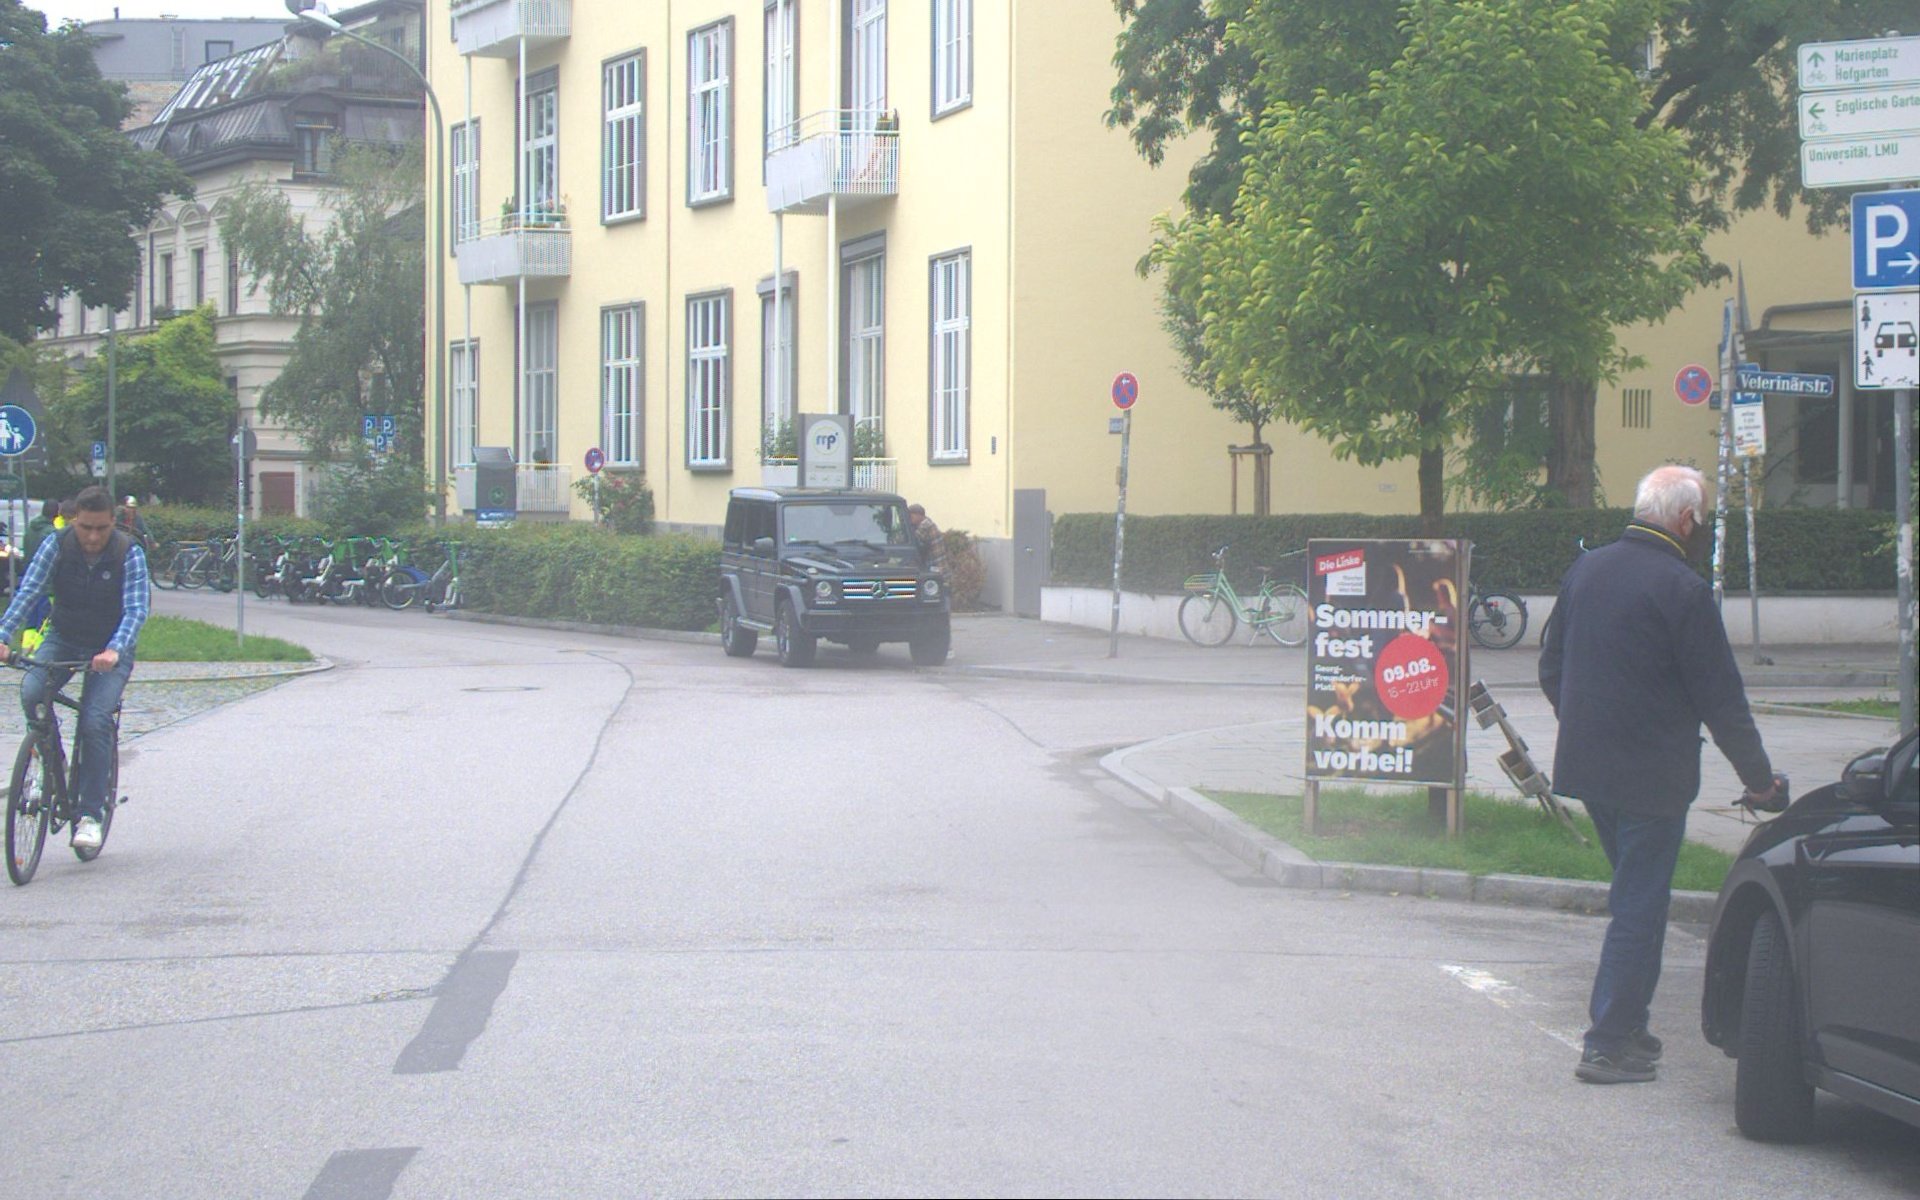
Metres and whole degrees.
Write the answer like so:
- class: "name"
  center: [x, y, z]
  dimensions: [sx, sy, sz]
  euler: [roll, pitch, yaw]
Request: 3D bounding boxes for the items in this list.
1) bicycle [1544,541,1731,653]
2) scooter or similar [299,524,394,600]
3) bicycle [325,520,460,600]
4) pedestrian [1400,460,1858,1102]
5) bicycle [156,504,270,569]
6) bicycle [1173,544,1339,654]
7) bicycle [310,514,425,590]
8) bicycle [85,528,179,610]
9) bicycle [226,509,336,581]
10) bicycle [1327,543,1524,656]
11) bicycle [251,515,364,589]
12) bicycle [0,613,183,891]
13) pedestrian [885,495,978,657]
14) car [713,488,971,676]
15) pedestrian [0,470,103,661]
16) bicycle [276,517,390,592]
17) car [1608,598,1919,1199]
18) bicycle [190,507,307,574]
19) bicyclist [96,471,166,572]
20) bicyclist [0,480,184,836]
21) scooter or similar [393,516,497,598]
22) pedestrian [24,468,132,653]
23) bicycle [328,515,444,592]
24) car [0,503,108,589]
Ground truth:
- class: "bicycle"
  center: [7.456, -0.041, 37.889]
  dimensions: [1.922, 1.197, 0.595]
  euler: [1, 2, 1]
- class: "scooter or similar"
  center: [-10.798, -0.682, 60.541]
  dimensions: [0.733, 1.301, 1.728]
  euler: [1, 2, 29]
- class: "bicycle"
  center: [-9.449, -0.683, 57.257]
  dimensions: [2.150, 1.301, 0.734]
  euler: [-1, 2, -41]
- class: "pedestrian"
  center: [1.992, 0.481, 10.262]
  dimensions: [0.954, 1.794, 0.935]
  euler: [-2, 3, -40]
- class: "bicycle"
  center: [-15.044, -1.282, 69.226]
  dimensions: [2.148, 1.301, 0.735]
  euler: [0, 2, -20]
- class: "bicycle"
  center: [3.388, -0.029, 39.513]
  dimensions: [1.927, 1.197, 0.594]
  euler: [2, 2, 42]
- class: "bicycle"
  center: [-10.357, -0.849, 60.176]
  dimensions: [0.733, 1.301, 2.152]
  euler: [1, 2, 32]
- class: "bicycle"
  center: [-12.525, -0.482, 51.978]
  dimensions: [0.743, 1.210, 2.144]
  euler: [-1, 2, -31]
- class: "bicycle"
  center: [-12.524, -1.035, 63.460]
  dimensions: [0.733, 1.301, 2.152]
  euler: [1, 2, 32]
- class: "bicycle"
  center: [5.165, -0.017, 38.143]
  dimensions: [2.069, 1.197, 0.595]
  euler: [1, 2, 19]
- class: "bicycle"
  center: [-11.712, -0.869, 61.756]
  dimensions: [0.733, 1.301, 2.152]
  euler: [1, 2, 32]
- class: "bicycle"
  center: [-4.115, 0.664, 15.898]
  dimensions: [0.670, 1.155, 2.004]
  euler: [0, 1, -3]
- class: "pedestrian"
  center: [-0.328, -0.276, 39.129]
  dimensions: [0.874, 1.817, 0.799]
  euler: [0, 2, -15]
- class: "car"
  center: [-1.414, -0.255, 39.028]
  dimensions: [1.762, 1.868, 4.381]
  euler: [4, 1, -17]
- class: "pedestrian"
  center: [-9.712, -0.378, 36.579]
  dimensions: [0.931, 2.006, 0.957]
  euler: [0, 2, 1]
- class: "bicycle"
  center: [-11.129, -0.818, 61.092]
  dimensions: [0.733, 1.301, 2.152]
  euler: [1, 2, 32]
- class: "car"
  center: [3.035, 0.787, 8.048]
  dimensions: [1.676, 1.384, 4.307]
  euler: [4, 1, -7]
- class: "bicycle"
  center: [-13.949, -1.176, 67.383]
  dimensions: [2.148, 1.301, 0.735]
  euler: [0, 2, -20]
- class: "bicyclist"
  center: [-12.532, -1.188, 51.969]
  dimensions: [0.743, 1.515, 0.945]
  euler: [-1, 2, -31]
- class: "bicyclist"
  center: [-4.129, 0.252, 15.965]
  dimensions: [0.863, 1.602, 0.947]
  euler: [0, 1, -3]
- class: "scooter or similar"
  center: [-8.439, -0.719, 56.394]
  dimensions: [0.733, 1.301, 2.154]
  euler: [1, 2, 20]
- class: "pedestrian"
  center: [-9.704, -0.441, 37.847]
  dimensions: [0.931, 2.006, 0.957]
  euler: [0, 2, 1]
- class: "bicycle"
  center: [-9.897, -0.812, 59.344]
  dimensions: [0.733, 1.301, 2.152]
  euler: [1, 2, 32]
- class: "car"
  center: [-16.468, -0.993, 61.702]
  dimensions: [1.914, 1.466, 4.001]
  euler: [0, 2, -19]
